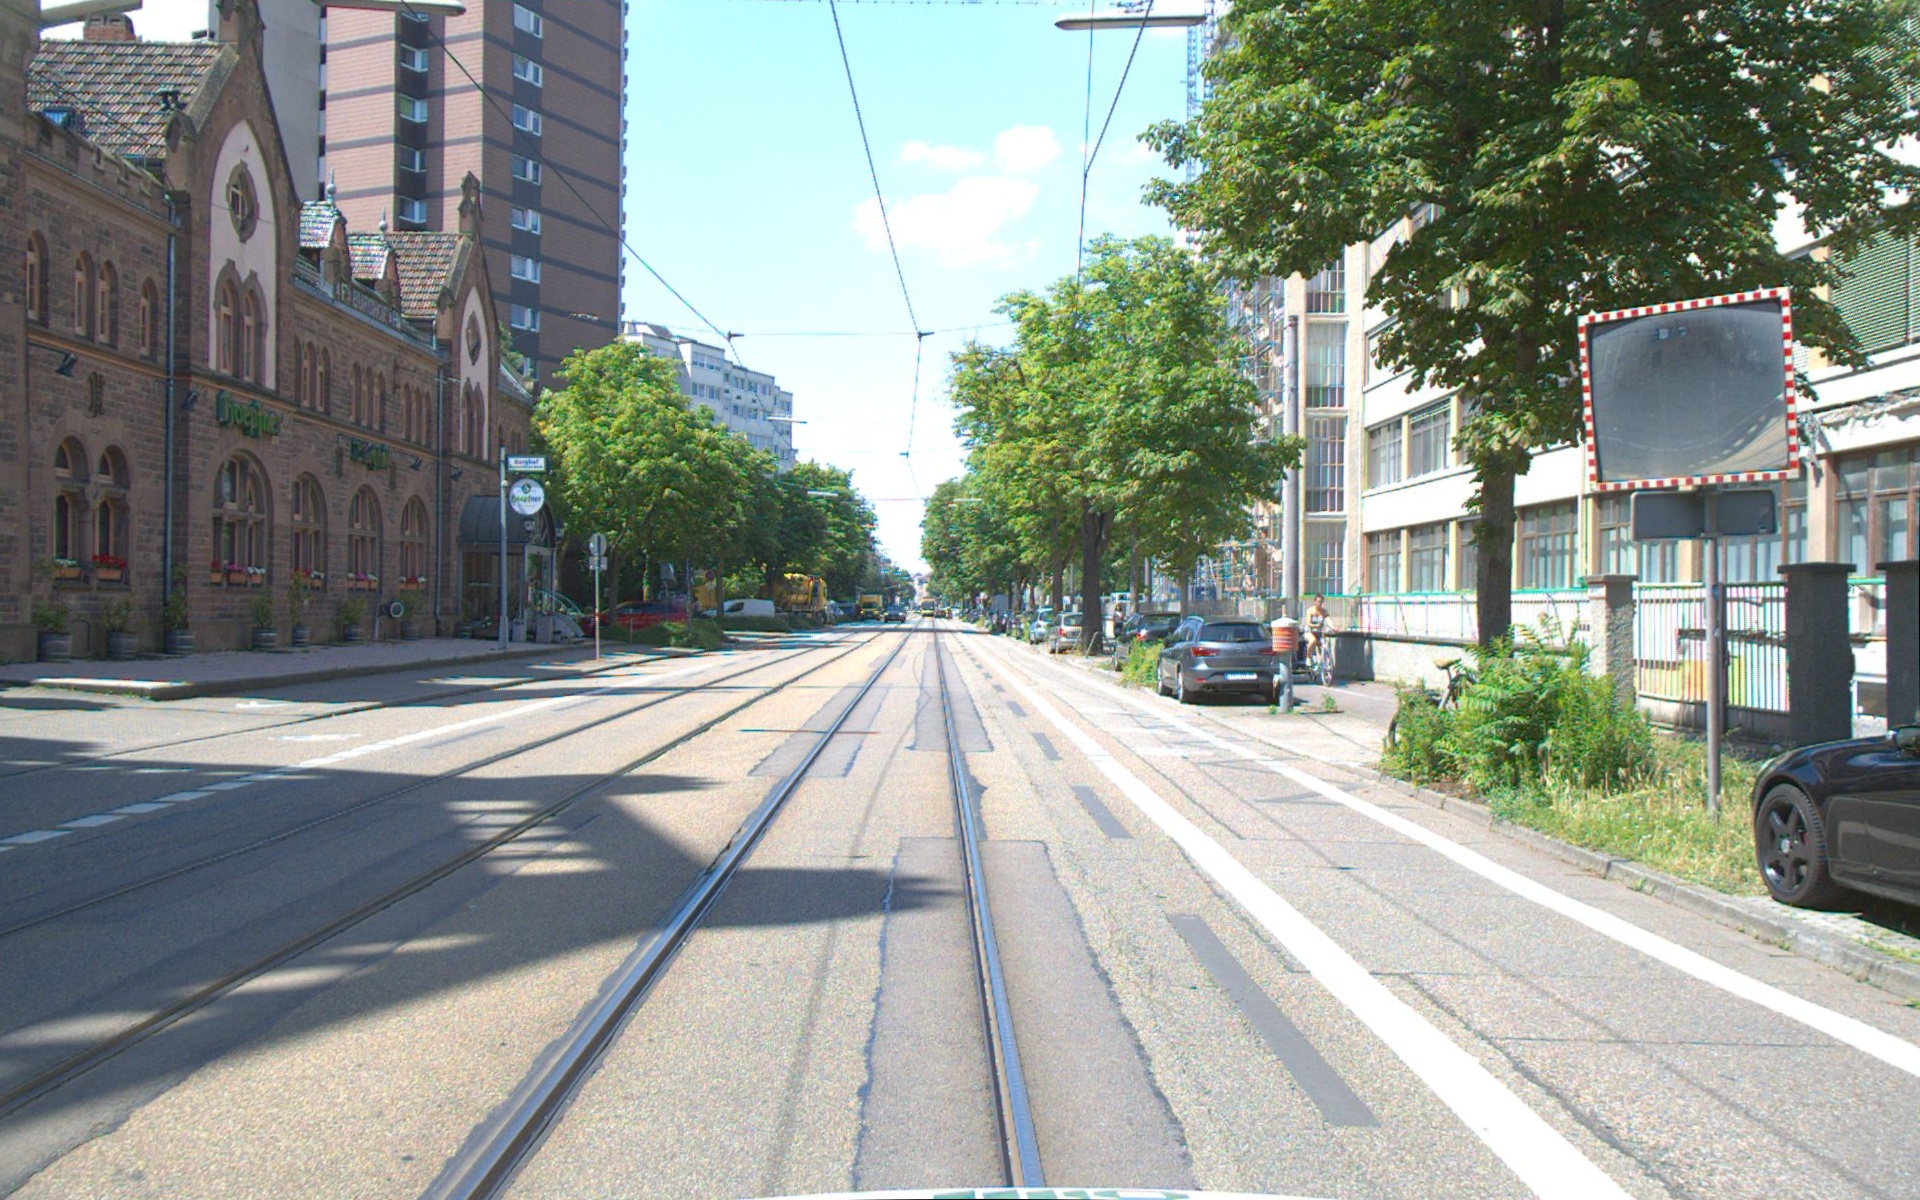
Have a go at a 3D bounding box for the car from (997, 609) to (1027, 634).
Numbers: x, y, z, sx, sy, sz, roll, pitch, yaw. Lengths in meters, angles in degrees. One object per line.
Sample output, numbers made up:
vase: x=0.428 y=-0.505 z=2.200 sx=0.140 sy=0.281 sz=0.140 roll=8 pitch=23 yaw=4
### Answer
car: x=3.222 y=1.319 z=102.900 sx=1.786 sy=1.497 sz=4.401 roll=0 pitch=0 yaw=2

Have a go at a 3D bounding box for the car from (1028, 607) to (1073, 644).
car: x=3.943 y=1.101 z=72.448 sx=1.637 sy=1.544 sz=4.200 roll=0 pitch=0 yaw=-2

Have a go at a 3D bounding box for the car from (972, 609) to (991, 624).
car: x=2.186 y=1.687 z=167.091 sx=1.606 sy=1.511 sz=3.869 roll=0 pitch=-1 yaw=-4

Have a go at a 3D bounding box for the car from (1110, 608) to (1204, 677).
car: x=4.595 y=0.965 z=39.035 sx=1.637 sy=1.516 sz=3.979 roll=0 pitch=0 yaw=-2

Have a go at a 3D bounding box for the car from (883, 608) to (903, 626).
car: x=-6.269 y=1.571 z=155.177 sx=1.793 sy=1.710 sz=4.183 roll=0 pitch=0 yaw=-1

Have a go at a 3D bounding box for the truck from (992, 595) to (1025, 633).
truck: x=3.301 y=0.929 z=113.559 sx=1.974 sy=2.532 sz=5.954 roll=0 pitch=0 yaw=-2

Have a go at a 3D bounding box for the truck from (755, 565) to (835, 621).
truck: x=-12.491 y=-0.461 z=126.539 sx=2.657 sy=3.909 sz=10.971 roll=2 pitch=-1 yaw=13

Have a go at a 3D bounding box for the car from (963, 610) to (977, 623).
car: x=1.230 y=2.084 z=208.131 sx=1.560 sy=1.645 sz=3.906 roll=0 pitch=-1 yaw=-1

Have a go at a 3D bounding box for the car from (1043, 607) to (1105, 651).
car: x=4.058 y=1.026 z=59.462 sx=1.638 sy=1.525 sz=4.362 roll=0 pitch=0 yaw=-4

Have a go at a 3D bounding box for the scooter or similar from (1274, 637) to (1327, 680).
scooter or similar: x=7.043 y=1.207 z=34.288 sx=0.746 sy=0.821 sz=1.555 roll=-2 pitch=0 yaw=-1

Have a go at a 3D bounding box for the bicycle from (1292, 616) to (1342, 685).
bicycle: x=7.029 y=0.978 z=32.621 sx=0.543 sy=1.287 sz=1.773 roll=-2 pitch=0 yaw=-1

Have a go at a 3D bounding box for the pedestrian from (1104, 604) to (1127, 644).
pedestrian: x=6.343 y=0.968 z=67.582 sx=0.783 sy=1.616 sz=0.919 roll=-1 pitch=0 yaw=-2

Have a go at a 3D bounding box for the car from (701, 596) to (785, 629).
car: x=-12.707 y=0.731 z=96.911 sx=4.492 sy=1.822 sz=1.879 roll=2 pitch=-1 yaw=-34

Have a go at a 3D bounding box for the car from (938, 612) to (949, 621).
car: x=-2.547 y=2.471 z=253.345 sx=1.745 sy=1.369 sz=3.415 roll=0 pitch=-1 yaw=-1

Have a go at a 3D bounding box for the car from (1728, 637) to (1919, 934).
car: x=5.166 y=0.870 z=7.303 sx=1.716 sy=1.293 sz=3.832 roll=2 pitch=0 yaw=-1

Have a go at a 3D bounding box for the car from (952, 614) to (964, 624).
car: x=-0.356 y=2.848 z=245.590 sx=1.676 sy=1.448 sz=4.308 roll=0 pitch=-1 yaw=-1

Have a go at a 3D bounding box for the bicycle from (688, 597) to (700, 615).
bicycle: x=-16.340 y=0.353 z=101.586 sx=0.507 sy=1.065 sz=1.875 roll=2 pitch=0 yaw=-3

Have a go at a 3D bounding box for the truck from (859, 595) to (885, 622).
truck: x=-9.706 y=0.920 z=182.843 sx=2.312 sy=2.902 sz=7.378 roll=-1 pitch=0 yaw=1

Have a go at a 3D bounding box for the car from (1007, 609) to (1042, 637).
car: x=3.563 y=1.252 z=91.996 sx=1.787 sy=1.497 sz=4.486 roll=0 pitch=0 yaw=0

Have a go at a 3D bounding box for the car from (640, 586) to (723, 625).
car: x=-19.856 y=0.425 z=118.155 sx=2.137 sy=2.611 sz=6.712 roll=0 pitch=-2 yaw=29

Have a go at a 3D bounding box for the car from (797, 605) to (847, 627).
car: x=-13.019 y=1.510 z=156.037 sx=1.887 sy=1.969 sz=4.729 roll=-2 pitch=-1 yaw=41

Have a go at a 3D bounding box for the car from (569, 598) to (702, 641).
car: x=-12.605 y=0.772 z=64.341 sx=4.713 sy=1.594 sz=1.982 roll=1 pitch=-1 yaw=-30

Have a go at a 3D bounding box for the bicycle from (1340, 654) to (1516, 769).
bicycle: x=4.552 y=1.077 z=16.139 sx=1.553 sy=1.079 sz=0.562 roll=0 pitch=0 yaw=-3

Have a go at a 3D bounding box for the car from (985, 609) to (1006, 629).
car: x=2.870 y=1.537 z=133.310 sx=1.610 sy=1.561 sz=3.785 roll=0 pitch=0 yaw=0

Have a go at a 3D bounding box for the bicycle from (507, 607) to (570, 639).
bicycle: x=-14.221 y=0.779 z=55.833 sx=1.964 sy=0.906 sz=0.594 roll=5 pitch=-1 yaw=-18

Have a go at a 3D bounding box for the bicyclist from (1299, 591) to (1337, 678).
bicyclist: x=7.032 y=0.663 z=32.474 sx=0.569 sy=1.677 sz=0.599 roll=-1 pitch=0 yaw=-1

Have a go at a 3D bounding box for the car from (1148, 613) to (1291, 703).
car: x=4.453 y=0.953 z=29.041 sx=1.637 sy=1.433 sz=4.747 roll=0 pitch=0 yaw=-2
